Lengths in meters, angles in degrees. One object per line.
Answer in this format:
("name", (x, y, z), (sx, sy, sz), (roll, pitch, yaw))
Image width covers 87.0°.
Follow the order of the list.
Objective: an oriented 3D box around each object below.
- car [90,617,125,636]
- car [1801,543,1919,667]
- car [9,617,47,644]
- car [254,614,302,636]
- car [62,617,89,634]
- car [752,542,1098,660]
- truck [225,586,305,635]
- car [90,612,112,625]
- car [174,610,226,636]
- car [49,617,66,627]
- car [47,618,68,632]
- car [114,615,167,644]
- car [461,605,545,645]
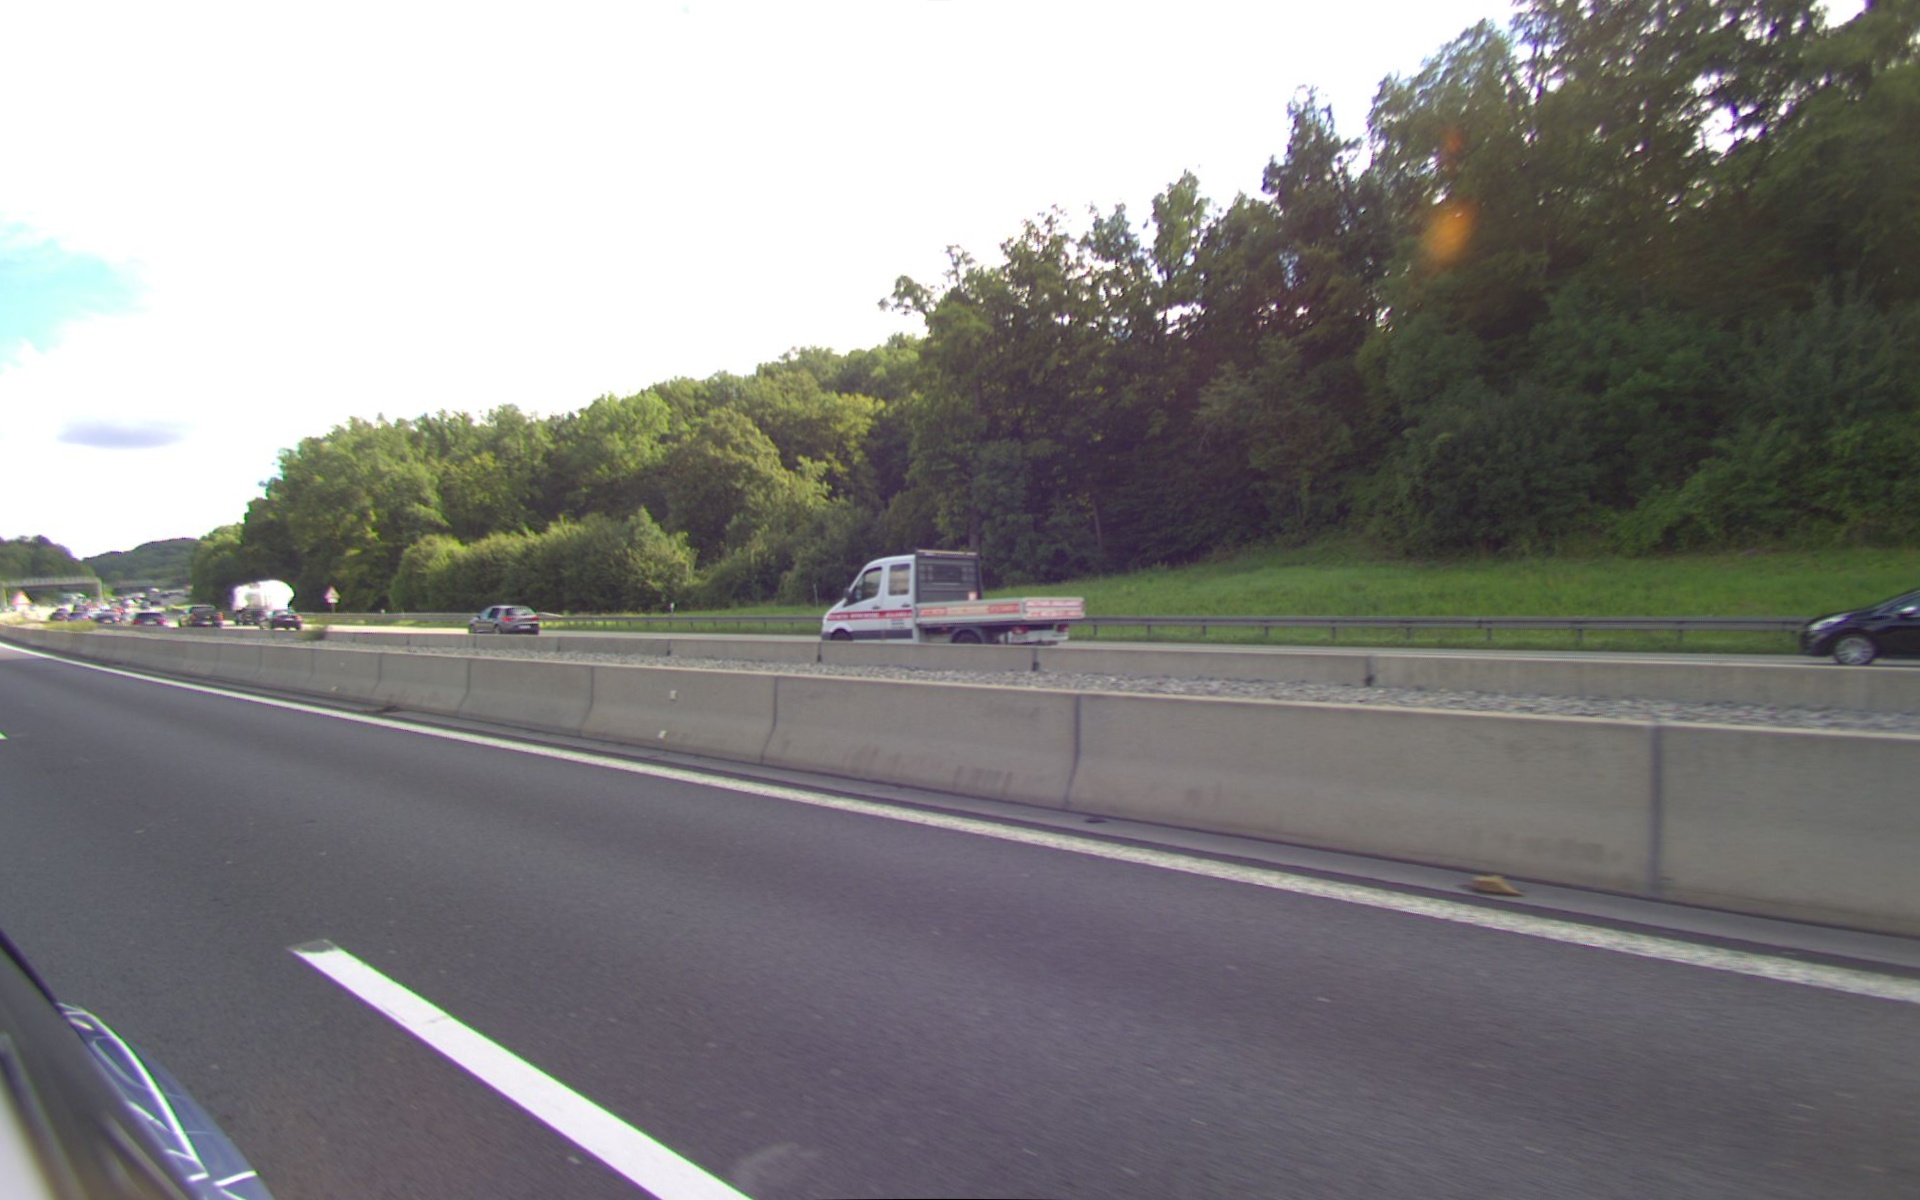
("car", (-71.978, 2.237, 85.413), (4.540, 1.489, 1.747), (-1, 0, 44))
("car", (16.867, 0.064, 17.125), (3.997, 2.050, 1.973), (-2, 0, 40))
("car", (-74.807, 2.415, 81.198), (4.001, 2.050, 1.971), (-2, 0, 44))
("car", (-47.381, 1.721, 70.281), (4.343, 1.476, 1.879), (-1, 0, 44))
("car", (-84.221, 2.403, 96.329), (3.844, 1.542, 1.580), (-1, 0, 44))
("car", (-1.054, 0.070, 21.846), (8.069, 2.146, 2.179), (-1, 0, 40))
("truck", (-64.197, 0.941, 93.314), (13.683, 4.158, 3.412), (-1, 0, 44))
("car", (-124.678, 2.699, 146.862), (2.075, 1.767, 4.003), (-1, 0, -44))
("car", (-52.085, 1.563, 69.316), (5.041, 1.627, 2.014), (-1, 0, 44))
("car", (-158.339, 3.861, 177.519), (2.096, 1.767, 4.003), (-1, 0, -44))
("car", (-103.873, 2.877, 116.481), (4.066, 1.509, 1.580), (-1, 0, 45))
("car", (-48.652, 1.707, 60.070), (4.482, 1.618, 1.782), (-1, 0, 42))
("car", (-20.097, 1.071, 44.457), (4.188, 1.651, 1.709), (-1, 0, 40))
